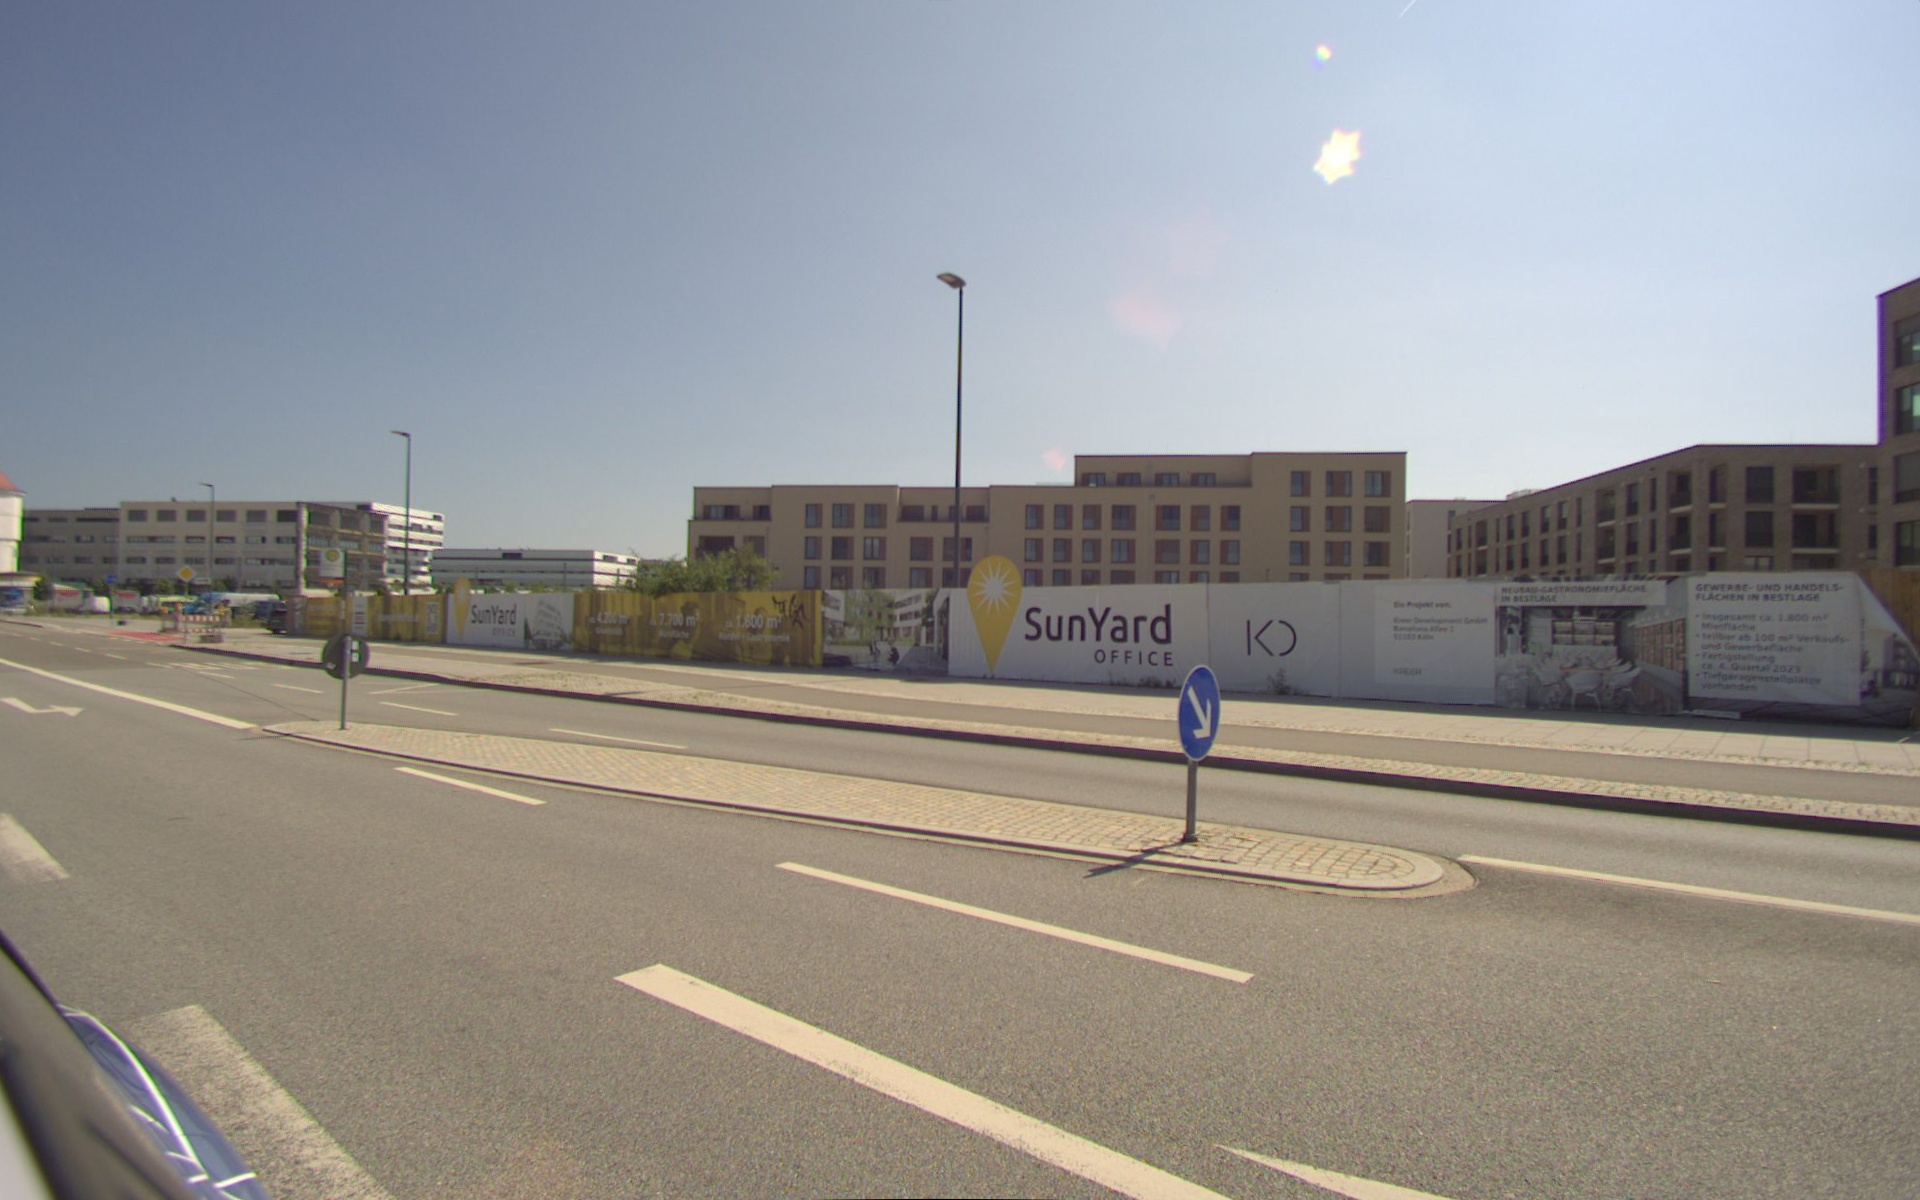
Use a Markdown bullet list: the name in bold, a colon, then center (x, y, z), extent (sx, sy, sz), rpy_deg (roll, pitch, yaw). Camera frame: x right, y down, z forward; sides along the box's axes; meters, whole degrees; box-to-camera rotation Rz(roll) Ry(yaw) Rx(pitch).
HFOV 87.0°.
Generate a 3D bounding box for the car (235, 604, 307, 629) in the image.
- **car**: center (-49.767, 1.150, 73.129), extent (1.888, 1.731, 3.884), rpy_deg (-1, 0, 36)

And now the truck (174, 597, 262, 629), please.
- **truck**: center (-62.120, 1.059, 84.818), extent (1.997, 2.494, 5.566), rpy_deg (-1, 0, 37)

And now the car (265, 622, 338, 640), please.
- **car**: center (-38.088, 1.777, 58.564), extent (1.293, 0.960, 3.314), rpy_deg (-1, 0, 43)

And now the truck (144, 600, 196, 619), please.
- **truck**: center (-109.416, 1.328, 140.214), extent (1.998, 2.494, 5.345), rpy_deg (-1, 0, 39)

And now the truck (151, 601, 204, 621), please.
- **truck**: center (-103.871, 1.471, 134.426), extent (1.997, 2.494, 5.269), rpy_deg (-1, 0, 37)

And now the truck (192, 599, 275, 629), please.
- **truck**: center (-56.913, 1.045, 79.377), extent (1.998, 2.245, 4.941), rpy_deg (-1, 0, 40)
